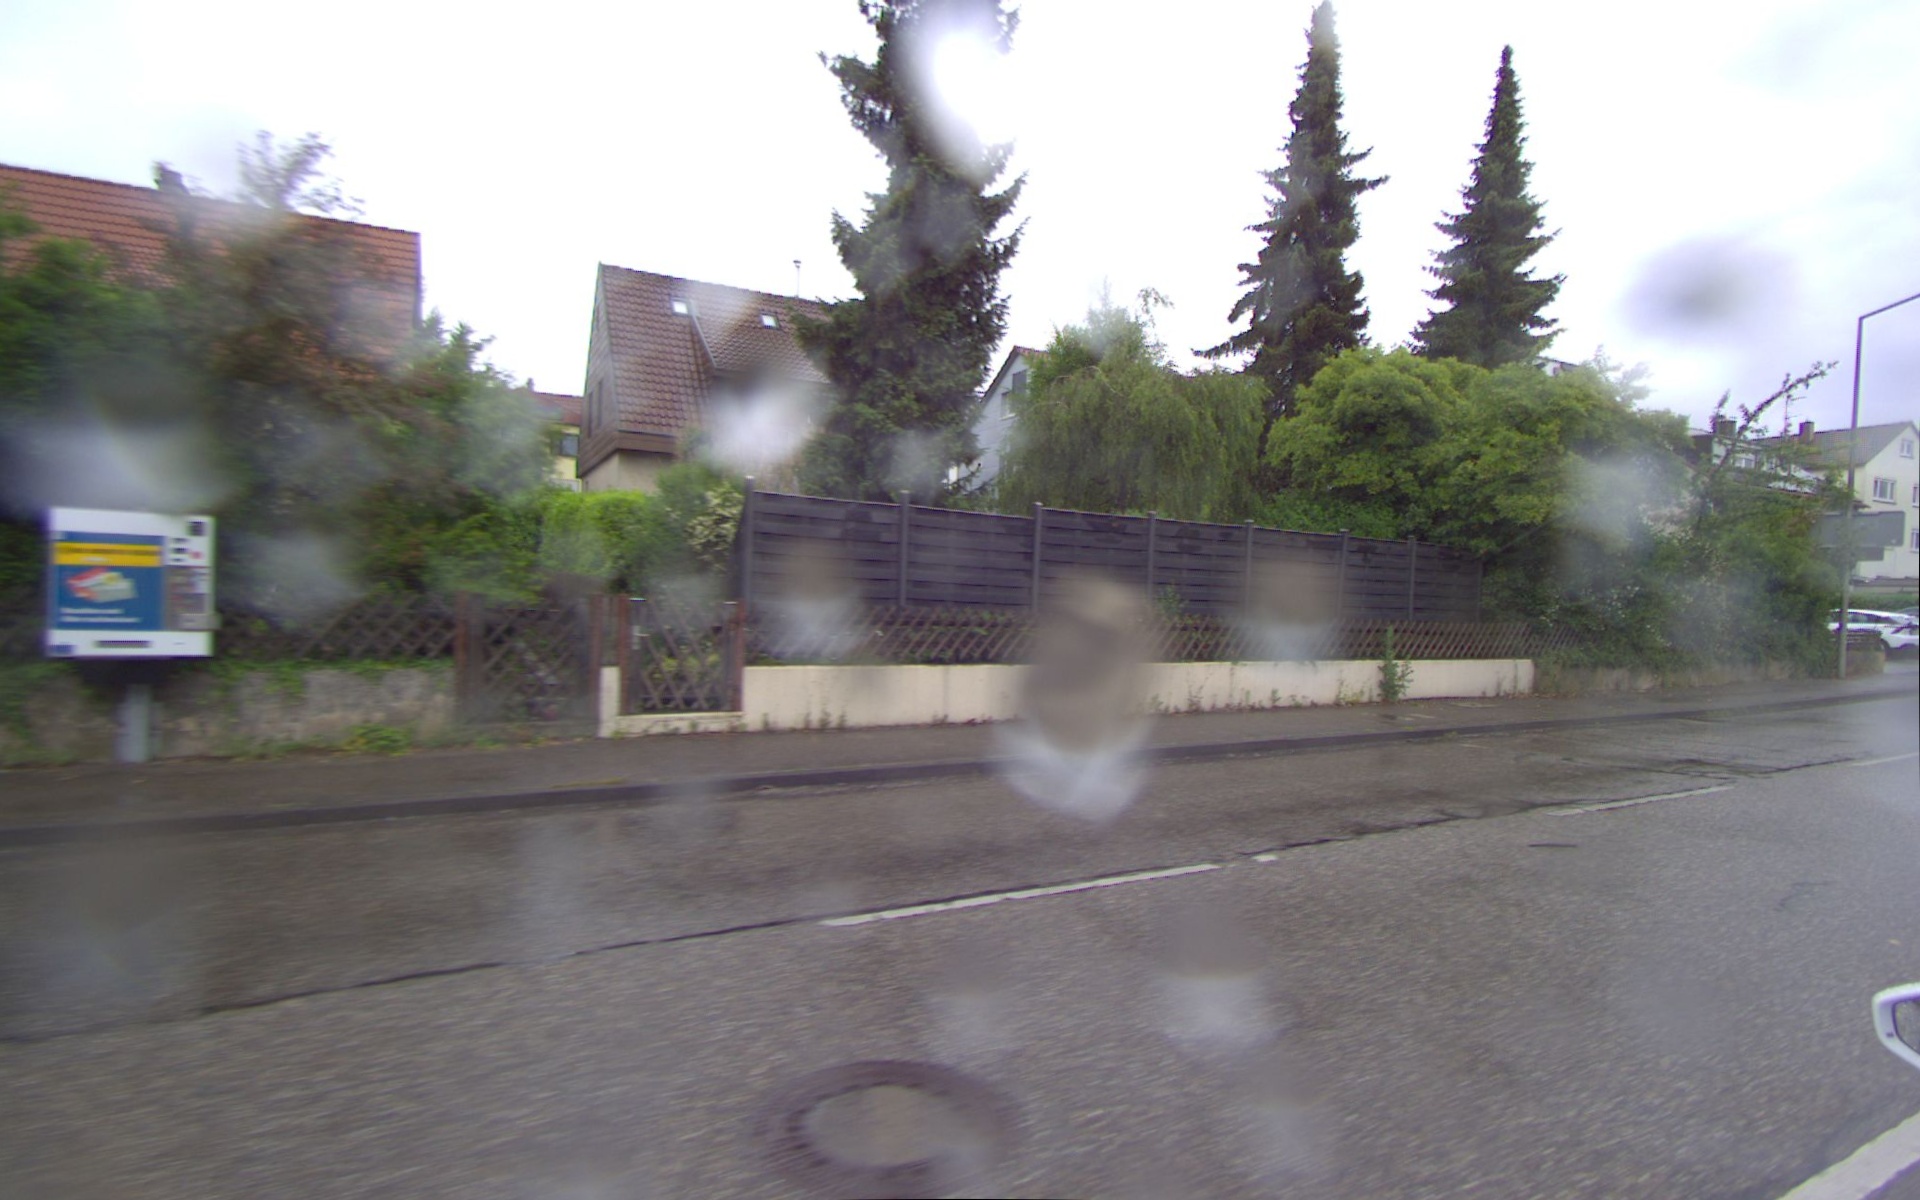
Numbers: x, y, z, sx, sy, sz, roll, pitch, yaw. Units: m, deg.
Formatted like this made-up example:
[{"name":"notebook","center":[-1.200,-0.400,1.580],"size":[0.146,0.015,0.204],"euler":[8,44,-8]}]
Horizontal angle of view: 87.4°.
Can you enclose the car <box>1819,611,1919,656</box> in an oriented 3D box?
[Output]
[{"name":"car","center":[33.215,1.181,35.524],"size":[1.683,1.465,3.975],"euler":[1,0,-25]}]

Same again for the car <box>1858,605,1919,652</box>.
[{"name":"car","center":[36.284,1.093,37.322],"size":[1.783,1.709,3.977],"euler":[1,0,-23]}]

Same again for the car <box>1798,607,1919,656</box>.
[{"name":"car","center":[31.336,1.050,34.097],"size":[1.945,1.454,3.973],"euler":[1,2,-26]}]

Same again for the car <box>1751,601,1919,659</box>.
[{"name":"car","center":[28.873,0.940,32.991],"size":[1.932,1.606,4.082],"euler":[2,2,-27]}]
